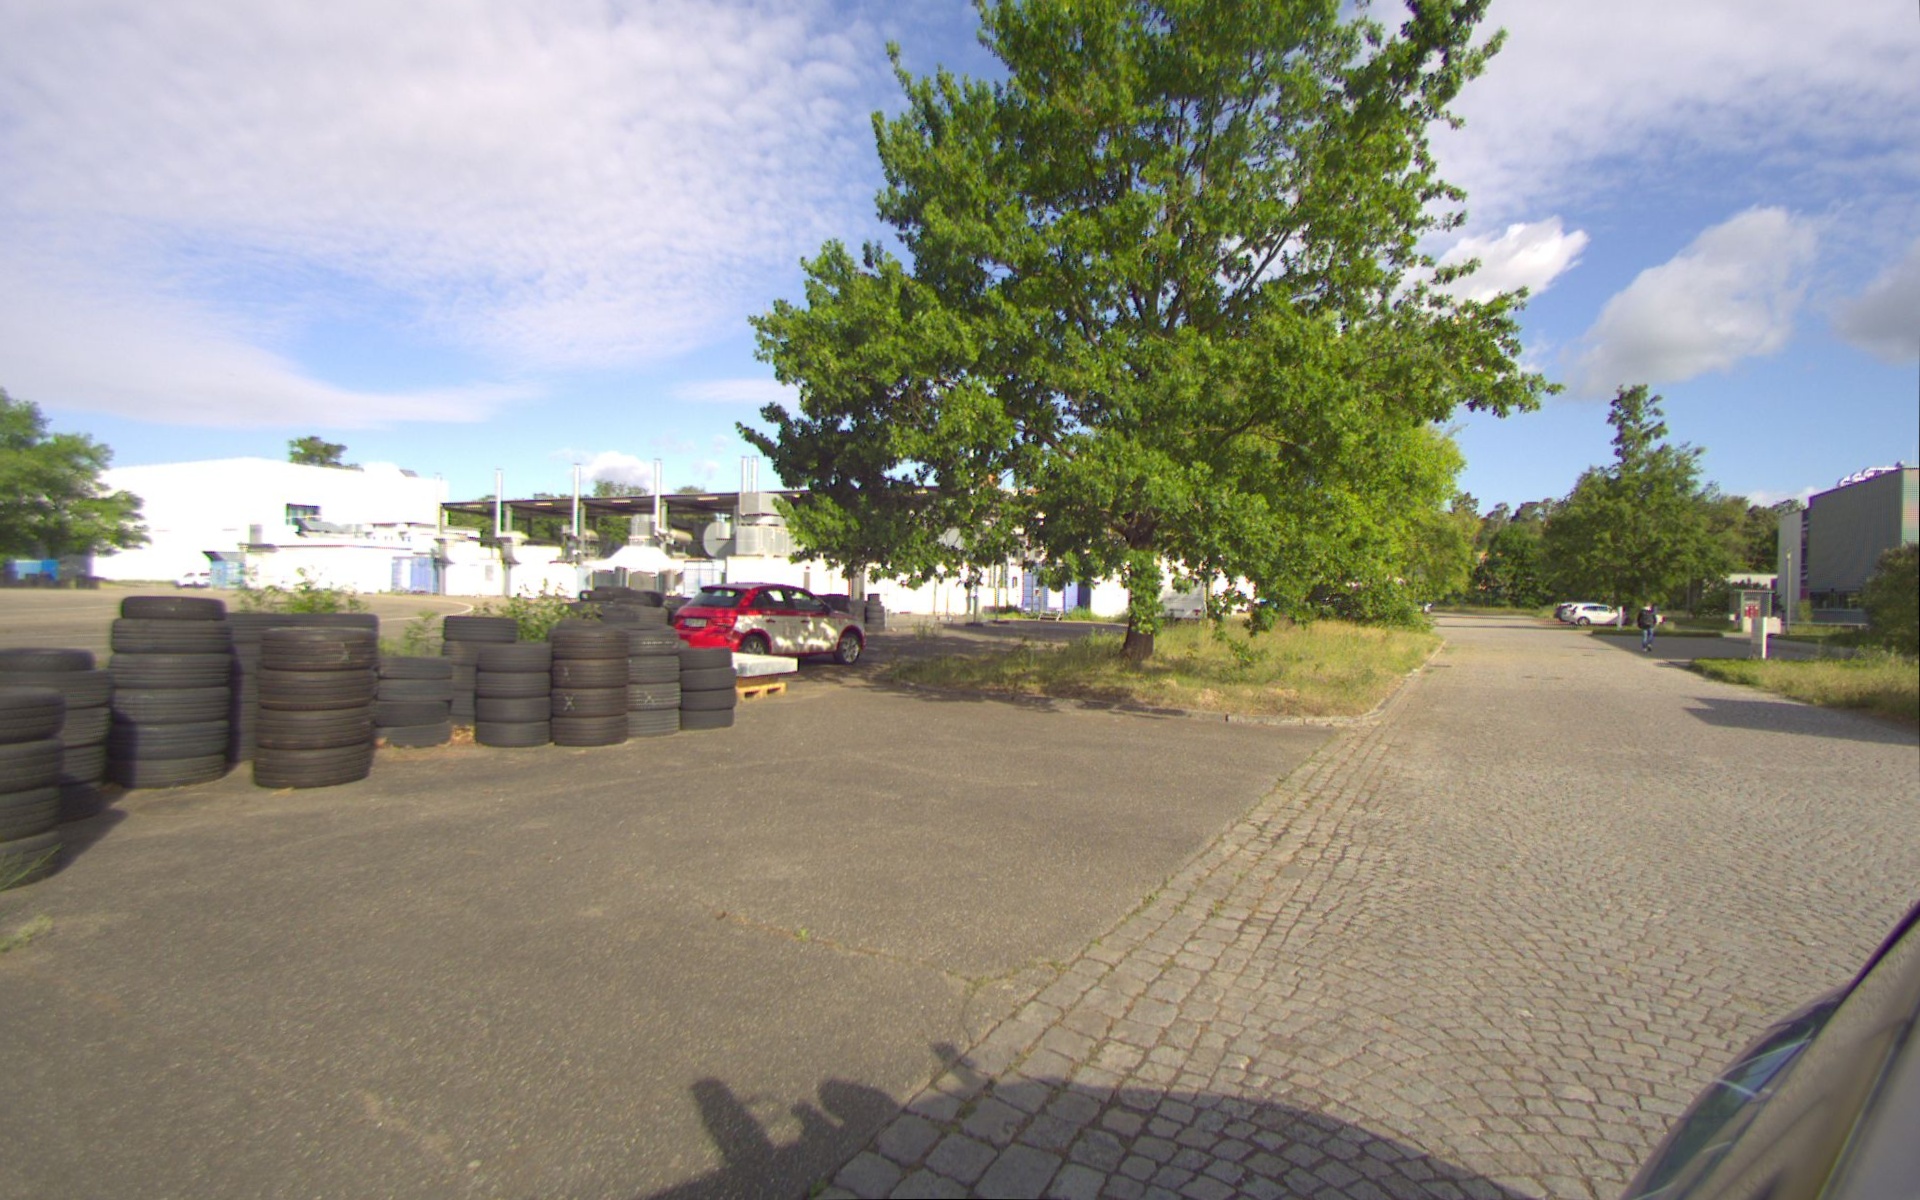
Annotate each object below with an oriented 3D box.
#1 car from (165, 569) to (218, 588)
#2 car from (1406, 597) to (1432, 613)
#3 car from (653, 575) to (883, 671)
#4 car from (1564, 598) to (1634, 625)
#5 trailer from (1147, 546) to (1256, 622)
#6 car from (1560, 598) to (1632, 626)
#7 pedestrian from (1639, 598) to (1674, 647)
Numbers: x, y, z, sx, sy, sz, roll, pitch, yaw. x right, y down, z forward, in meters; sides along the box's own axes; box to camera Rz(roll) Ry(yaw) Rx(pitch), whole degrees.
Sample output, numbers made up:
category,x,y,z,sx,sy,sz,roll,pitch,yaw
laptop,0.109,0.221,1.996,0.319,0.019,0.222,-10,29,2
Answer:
category,x,y,z,sx,sy,sz,roll,pitch,yaw
car,-67.334,-1.916,88.631,4.502,1.584,1.858,2,1,26
car,42.670,0.426,94.162,1.976,1.388,3.972,1,1,21
car,-3.268,0.355,17.930,1.716,1.482,3.951,2,1,34
car,43.790,0.760,69.388,3.972,1.663,1.976,2,1,34
trailer,12.636,-0.780,52.136,2.901,3.515,9.798,1,1,29
car,42.191,0.775,67.180,3.972,1.663,1.976,2,1,34
pedestrian,23.238,0.731,33.751,0.863,1.578,1.013,1,0,39
